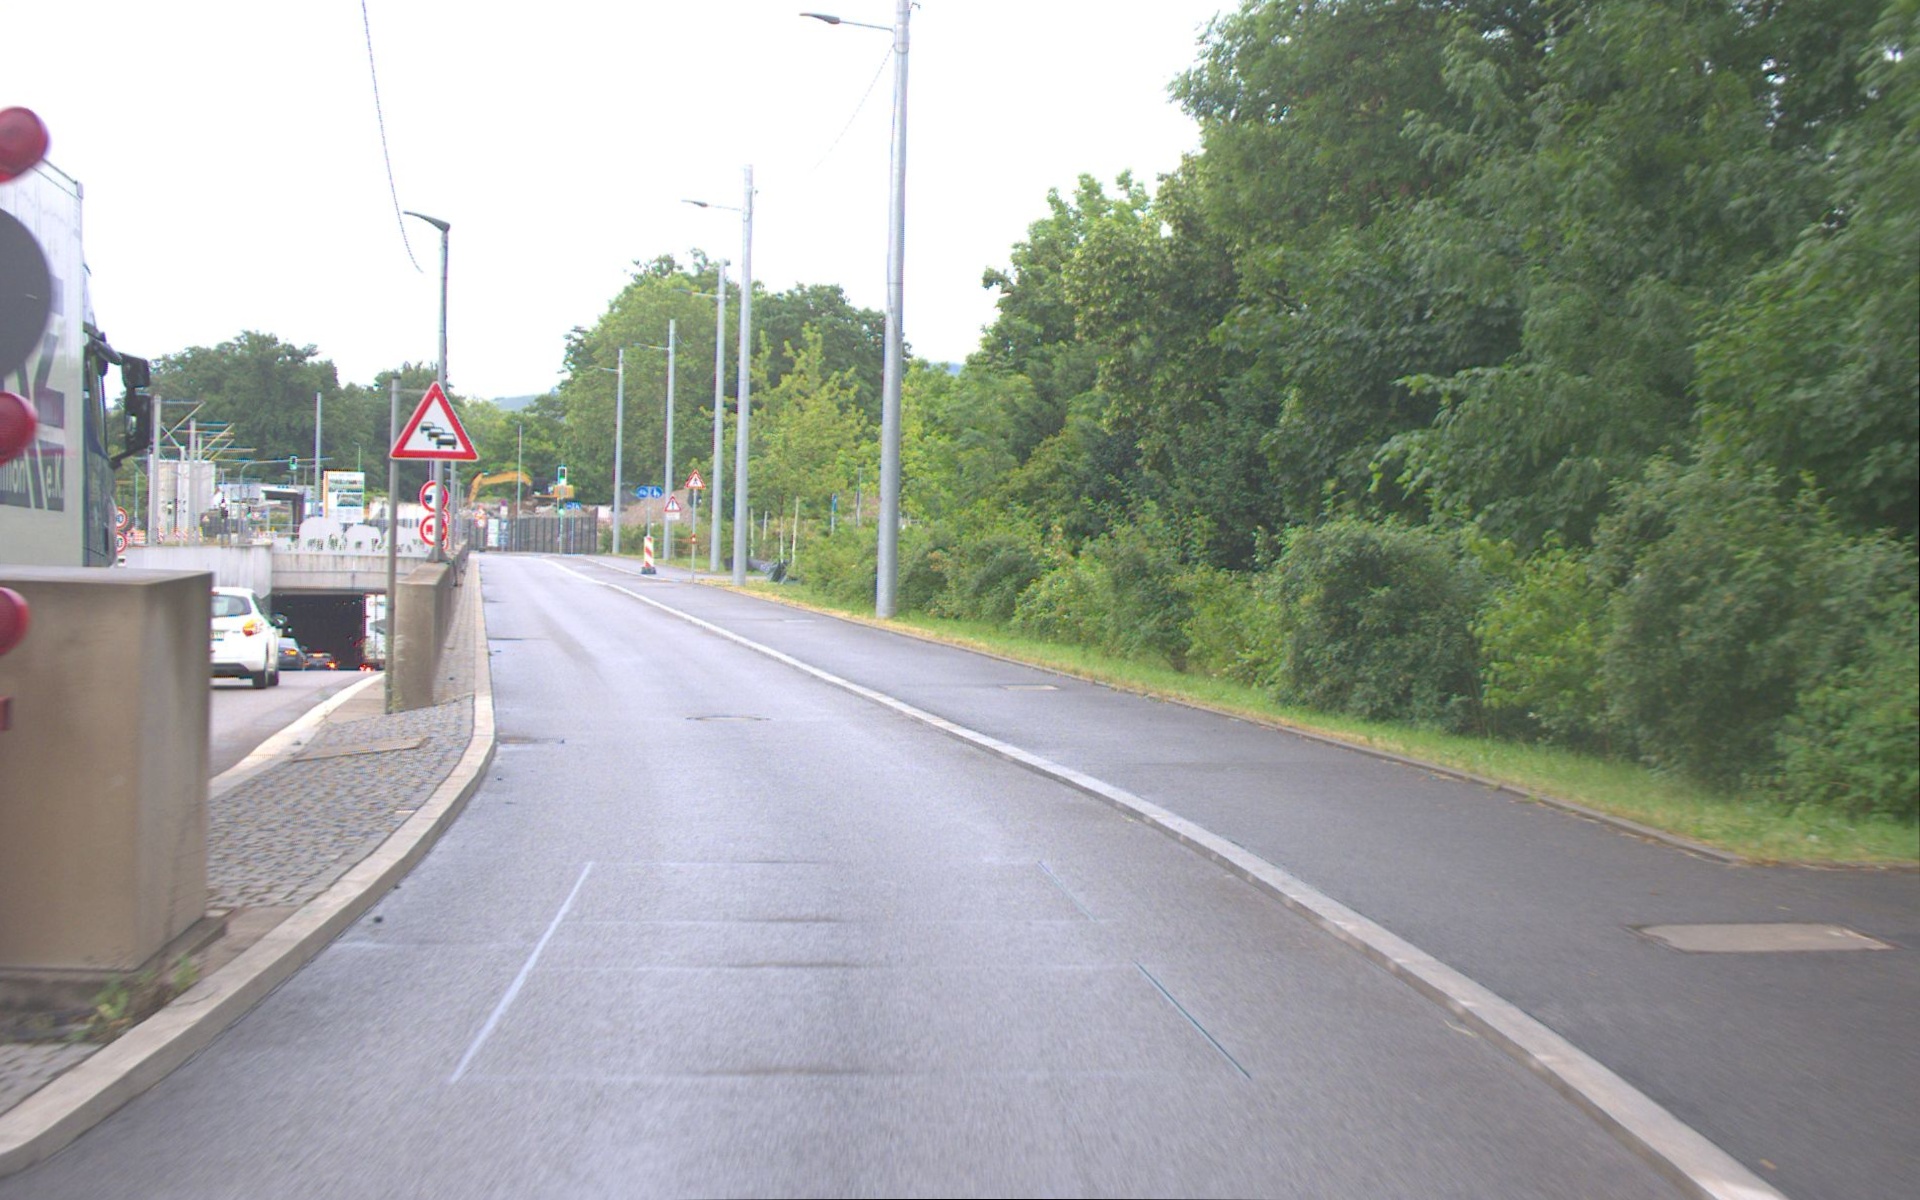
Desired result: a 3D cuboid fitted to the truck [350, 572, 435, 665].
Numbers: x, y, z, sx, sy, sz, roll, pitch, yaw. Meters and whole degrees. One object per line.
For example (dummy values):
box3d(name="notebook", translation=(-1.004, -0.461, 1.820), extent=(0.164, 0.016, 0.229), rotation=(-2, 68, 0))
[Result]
box3d(name="truck", translation=(-25.478, 0.778, 154.651), extent=(3.517, 4.026, 8.076), rotation=(0, 1, -8))

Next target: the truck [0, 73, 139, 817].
box3d(name="truck", translation=(-7.083, -0.941, 22.007), extent=(2.755, 4.190, 6.308), rotation=(0, 1, -6))

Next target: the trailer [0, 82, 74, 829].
box3d(name="trailer", translation=(-6.392, -0.718, 15.406), extent=(2.762, 4.238, 13.186), rotation=(0, 1, -6))

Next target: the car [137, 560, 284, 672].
box3d(name="car", translation=(-10.884, 0.205, 50.145), extent=(1.809, 1.419, 4.002), rotation=(0, 3, -8))
